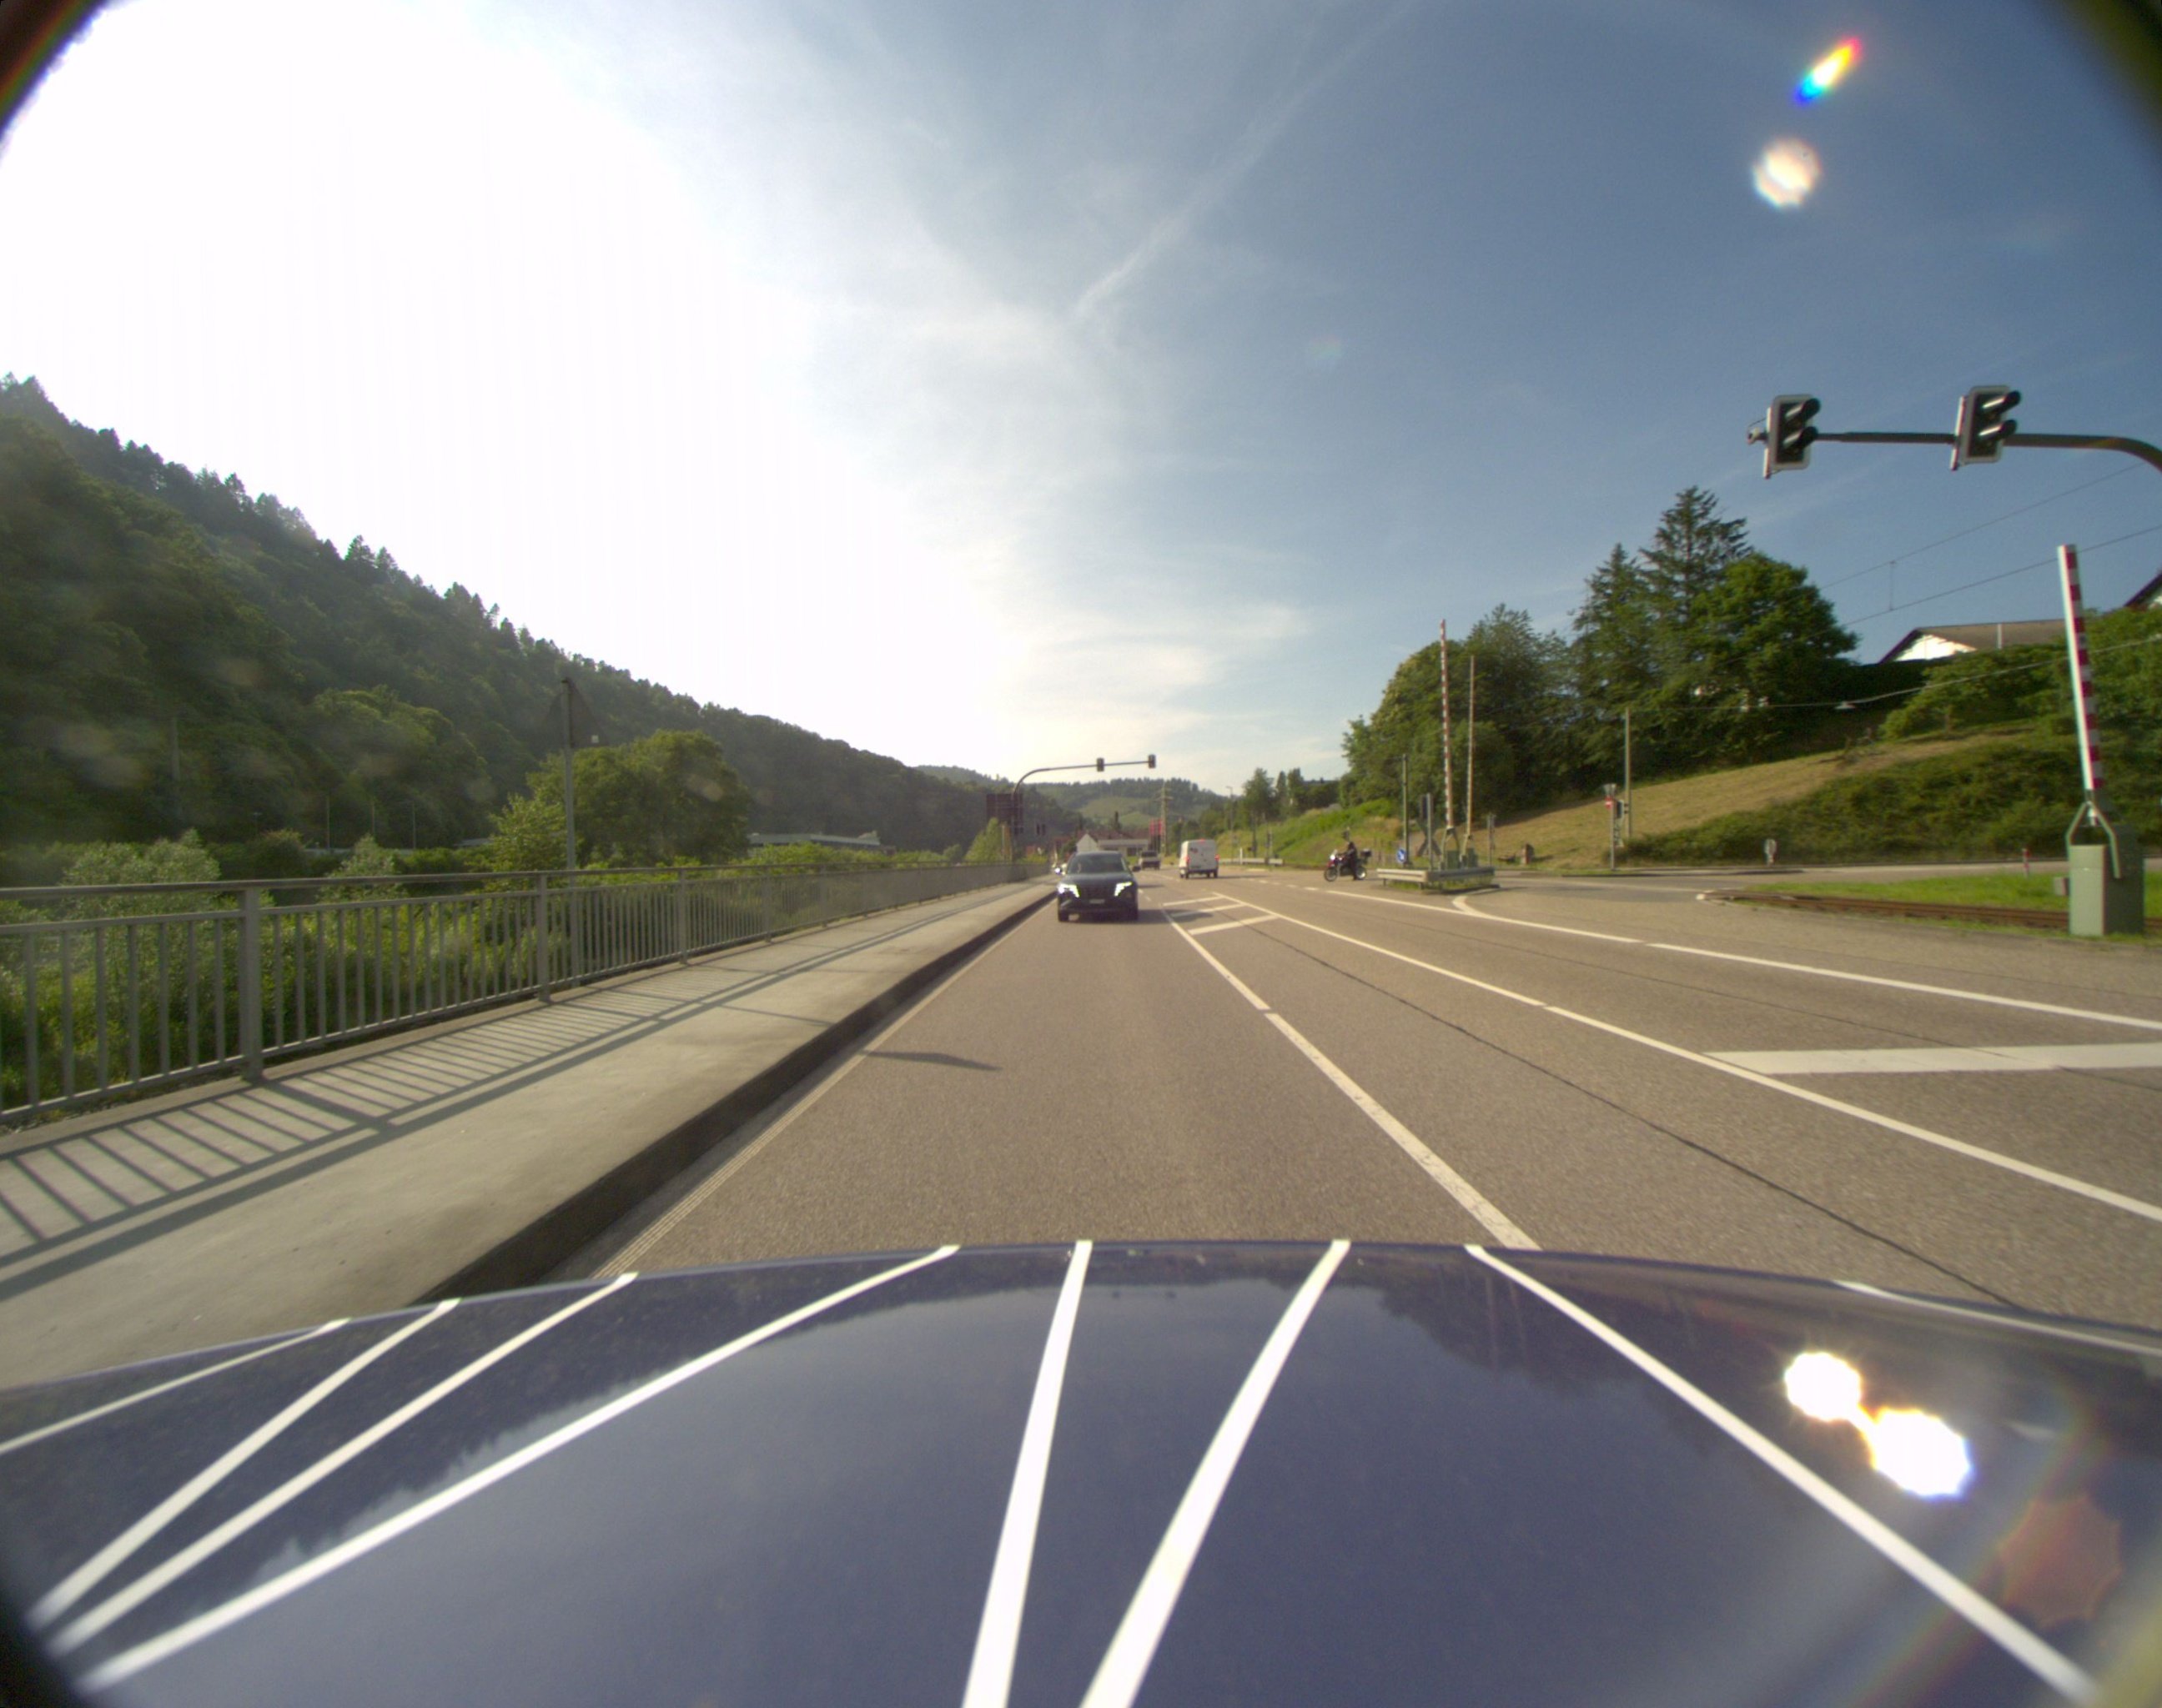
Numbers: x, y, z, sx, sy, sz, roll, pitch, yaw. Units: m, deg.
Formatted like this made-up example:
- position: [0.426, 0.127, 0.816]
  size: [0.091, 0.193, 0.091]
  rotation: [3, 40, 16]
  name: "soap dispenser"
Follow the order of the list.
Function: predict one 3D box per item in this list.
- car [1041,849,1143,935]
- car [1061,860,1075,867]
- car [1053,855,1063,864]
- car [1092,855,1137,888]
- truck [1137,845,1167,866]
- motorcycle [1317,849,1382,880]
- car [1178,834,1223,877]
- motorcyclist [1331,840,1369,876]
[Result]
- position: [0.335, 0.748, 18.152]
  size: [1.998, 1.661, 5.511]
  rotation: [-2, 0, 3]
  name: "car"
- position: [-2.914, 2.074, 169.089]
  size: [2.001, 1.433, 3.995]
  rotation: [-4, 0, -16]
  name: "car"
- position: [-5.491, 1.251, 181.643]
  size: [1.999, 2.002, 3.998]
  rotation: [-3, 0, -6]
  name: "car"
- position: [1.590, 0.831, 37.775]
  size: [1.919, 1.455, 3.999]
  rotation: [-2, 0, -1]
  name: "car"
- position: [8.084, 0.152, 87.037]
  size: [2.453, 2.252, 6.279]
  rotation: [-3, 0, -3]
  name: "truck"
- position: [12.239, 0.489, 34.661]
  size: [2.594, 1.261, 1.004]
  rotation: [-3, 0, -13]
  name: "motorcycle"
- position: [7.417, 0.105, 47.693]
  size: [2.124, 2.422, 5.228]
  rotation: [-2, 0, 2]
  name: "car"
- position: [12.257, 0.183, 34.657]
  size: [1.186, 1.535, 0.990]
  rotation: [-4, 1, -13]
  name: "motorcyclist"
